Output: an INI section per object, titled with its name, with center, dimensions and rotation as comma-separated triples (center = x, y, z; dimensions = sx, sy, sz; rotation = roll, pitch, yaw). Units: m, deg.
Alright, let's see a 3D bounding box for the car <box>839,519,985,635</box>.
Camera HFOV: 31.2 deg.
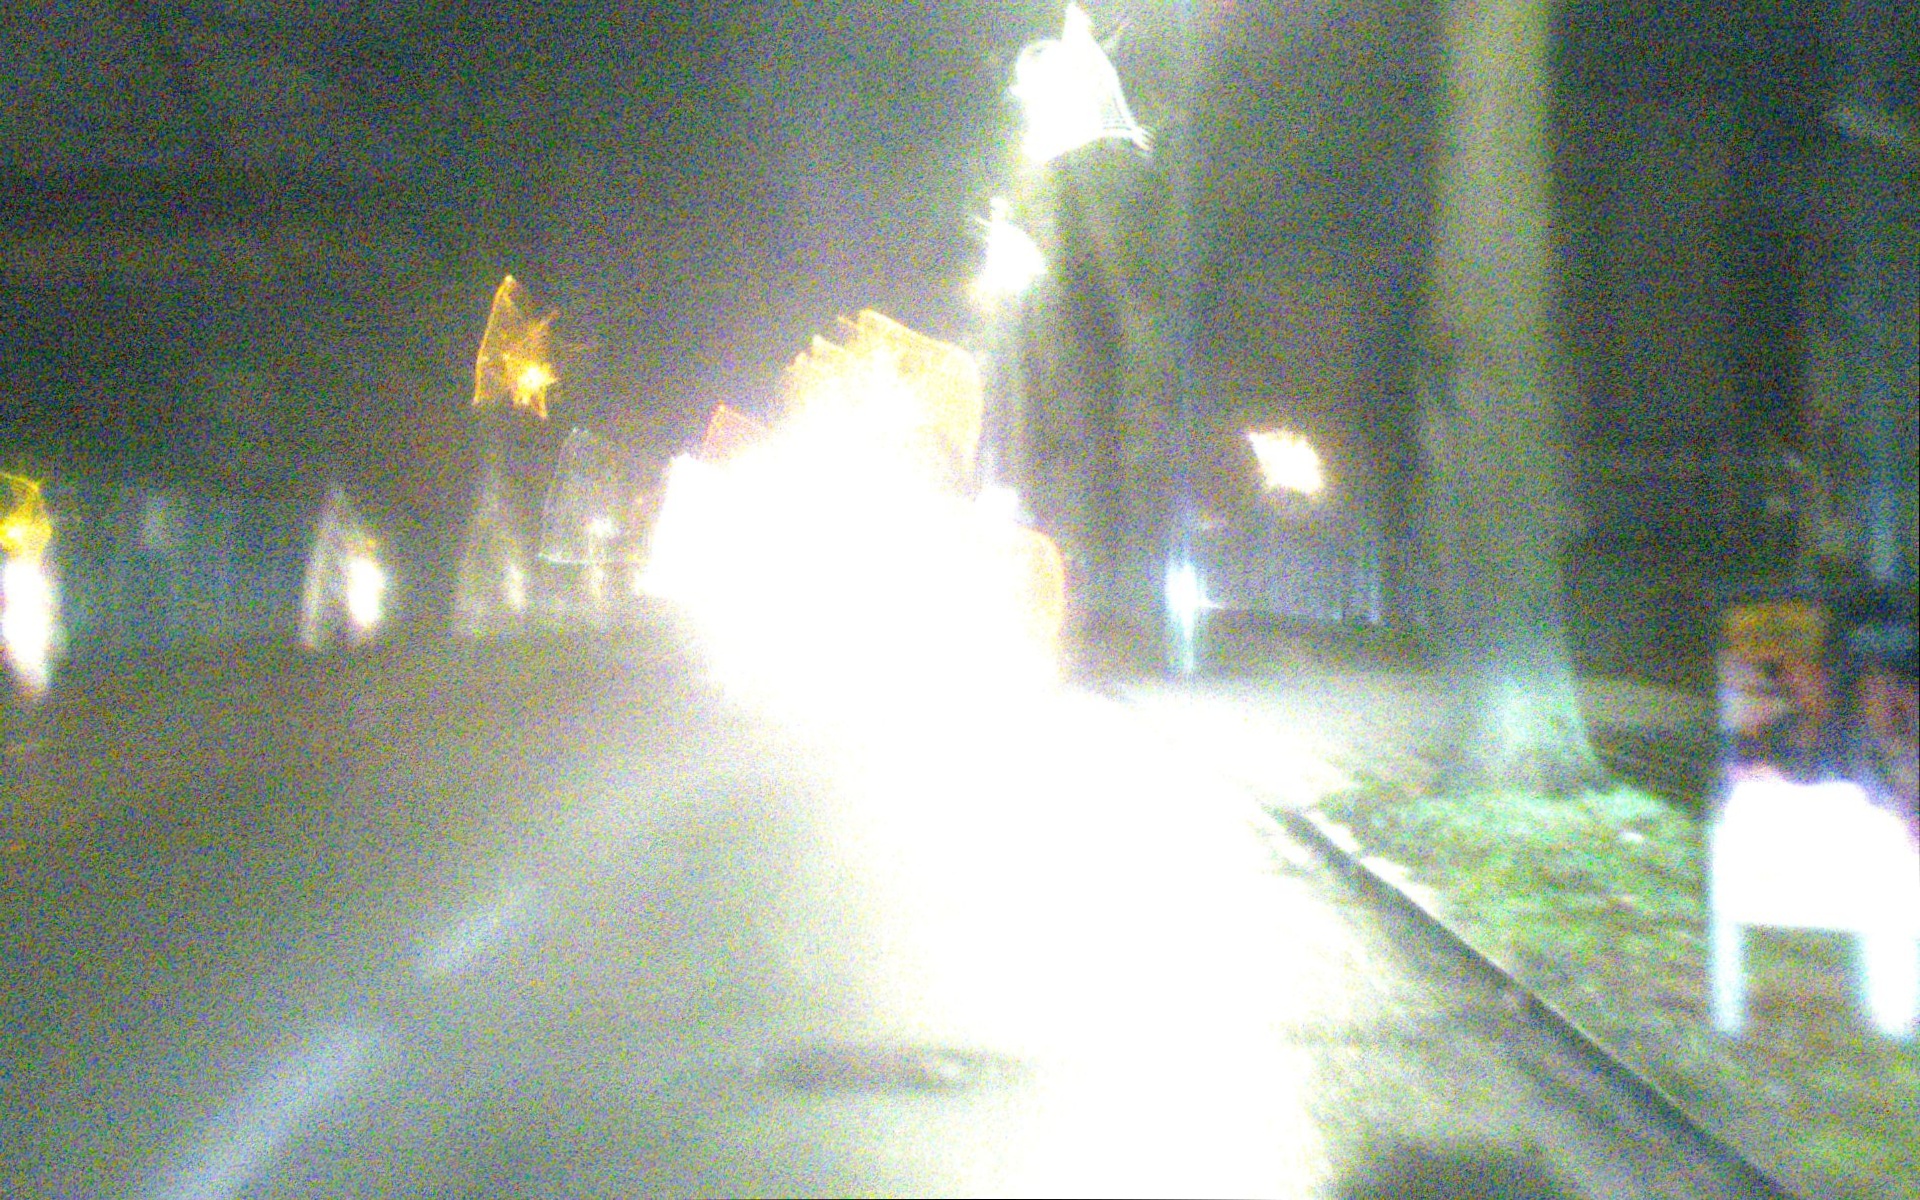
[car]
center = -0.769, -0.383, 52.053
dimensions = 1.993, 1.678, 4.001
rotation = 0, 1, -4
